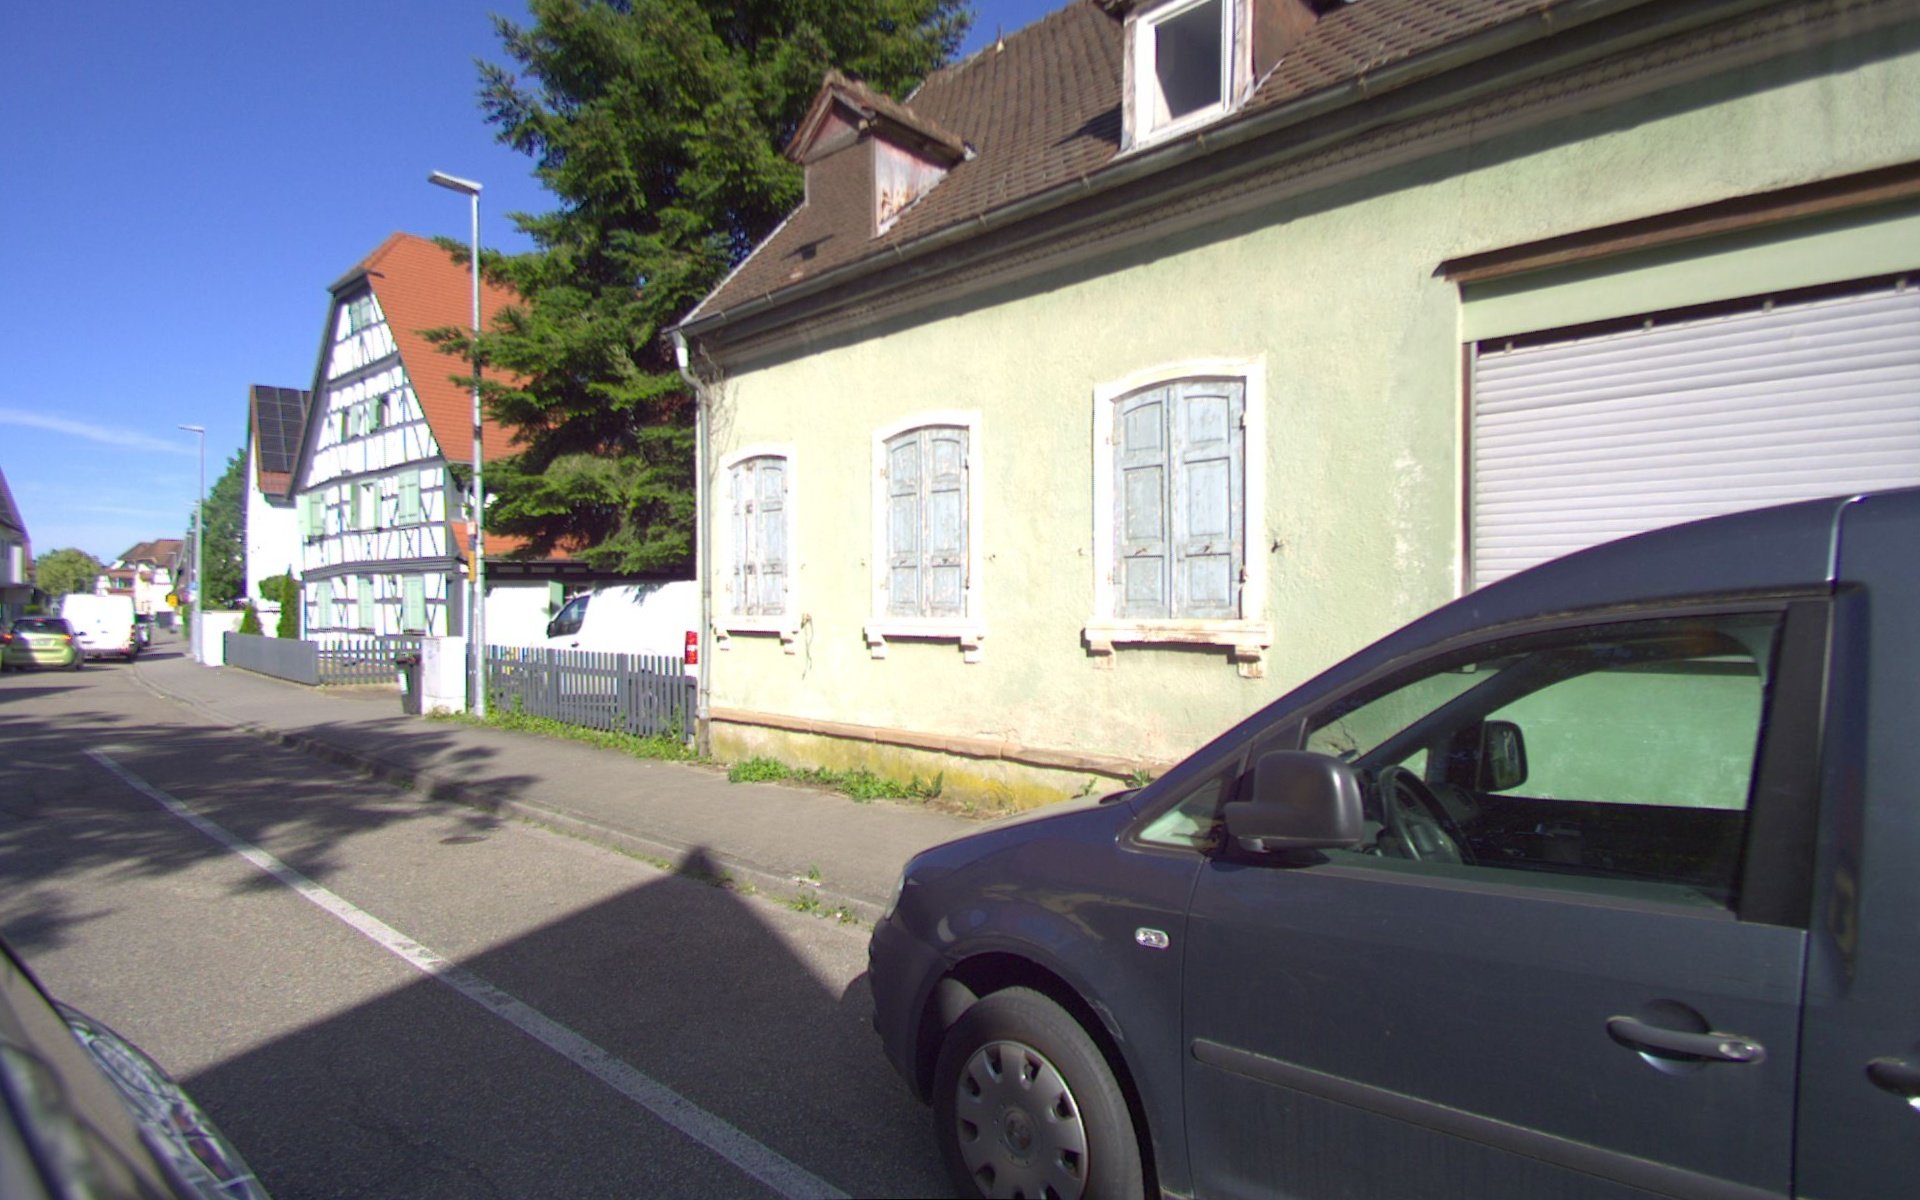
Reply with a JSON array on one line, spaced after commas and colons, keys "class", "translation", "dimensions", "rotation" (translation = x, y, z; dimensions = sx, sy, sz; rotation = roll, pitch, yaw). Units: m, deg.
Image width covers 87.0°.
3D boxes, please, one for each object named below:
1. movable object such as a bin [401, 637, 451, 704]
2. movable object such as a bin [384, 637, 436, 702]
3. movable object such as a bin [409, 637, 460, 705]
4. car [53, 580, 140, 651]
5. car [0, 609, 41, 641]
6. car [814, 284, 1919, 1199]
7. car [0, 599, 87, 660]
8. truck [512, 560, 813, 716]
[{"class": "movable object such as a bin", "translation": [-7.925, 1.029, 15.017], "dimensions": [0.429, 0.954, 0.519], "rotation": [-2, -1, 37]}, {"class": "movable object such as a bin", "translation": [-8.331, 1.043, 15.338], "dimensions": [0.519, 0.954, 0.519], "rotation": [-2, -1, 37]}, {"class": "movable object such as a bin", "translation": [-7.625, 1.017, 14.674], "dimensions": [0.429, 0.954, 0.519], "rotation": [-2, -1, 37]}, {"class": "car", "translation": [-29.905, 0.590, 35.179], "dimensions": [2.029, 2.263, 4.868], "rotation": [3, -3, -38]}, {"class": "car", "translation": [-46.410, 1.209, 49.384], "dimensions": [1.779, 1.489, 4.354], "rotation": [0, -1, -35]}, {"class": "car", "translation": [1.839, 0.525, 2.091], "dimensions": [4.351, 1.803, 1.813], "rotation": [-2, -5, 41]}, {"class": "car", "translation": [-26.357, 0.866, 28.959], "dimensions": [1.864, 1.602, 4.008], "rotation": [3, -3, -38]}, {"class": "truck", "translation": [-4.387, 0.516, 14.458], "dimensions": [4.751, 1.863, 1.972], "rotation": [-2, -1, 43]}]
